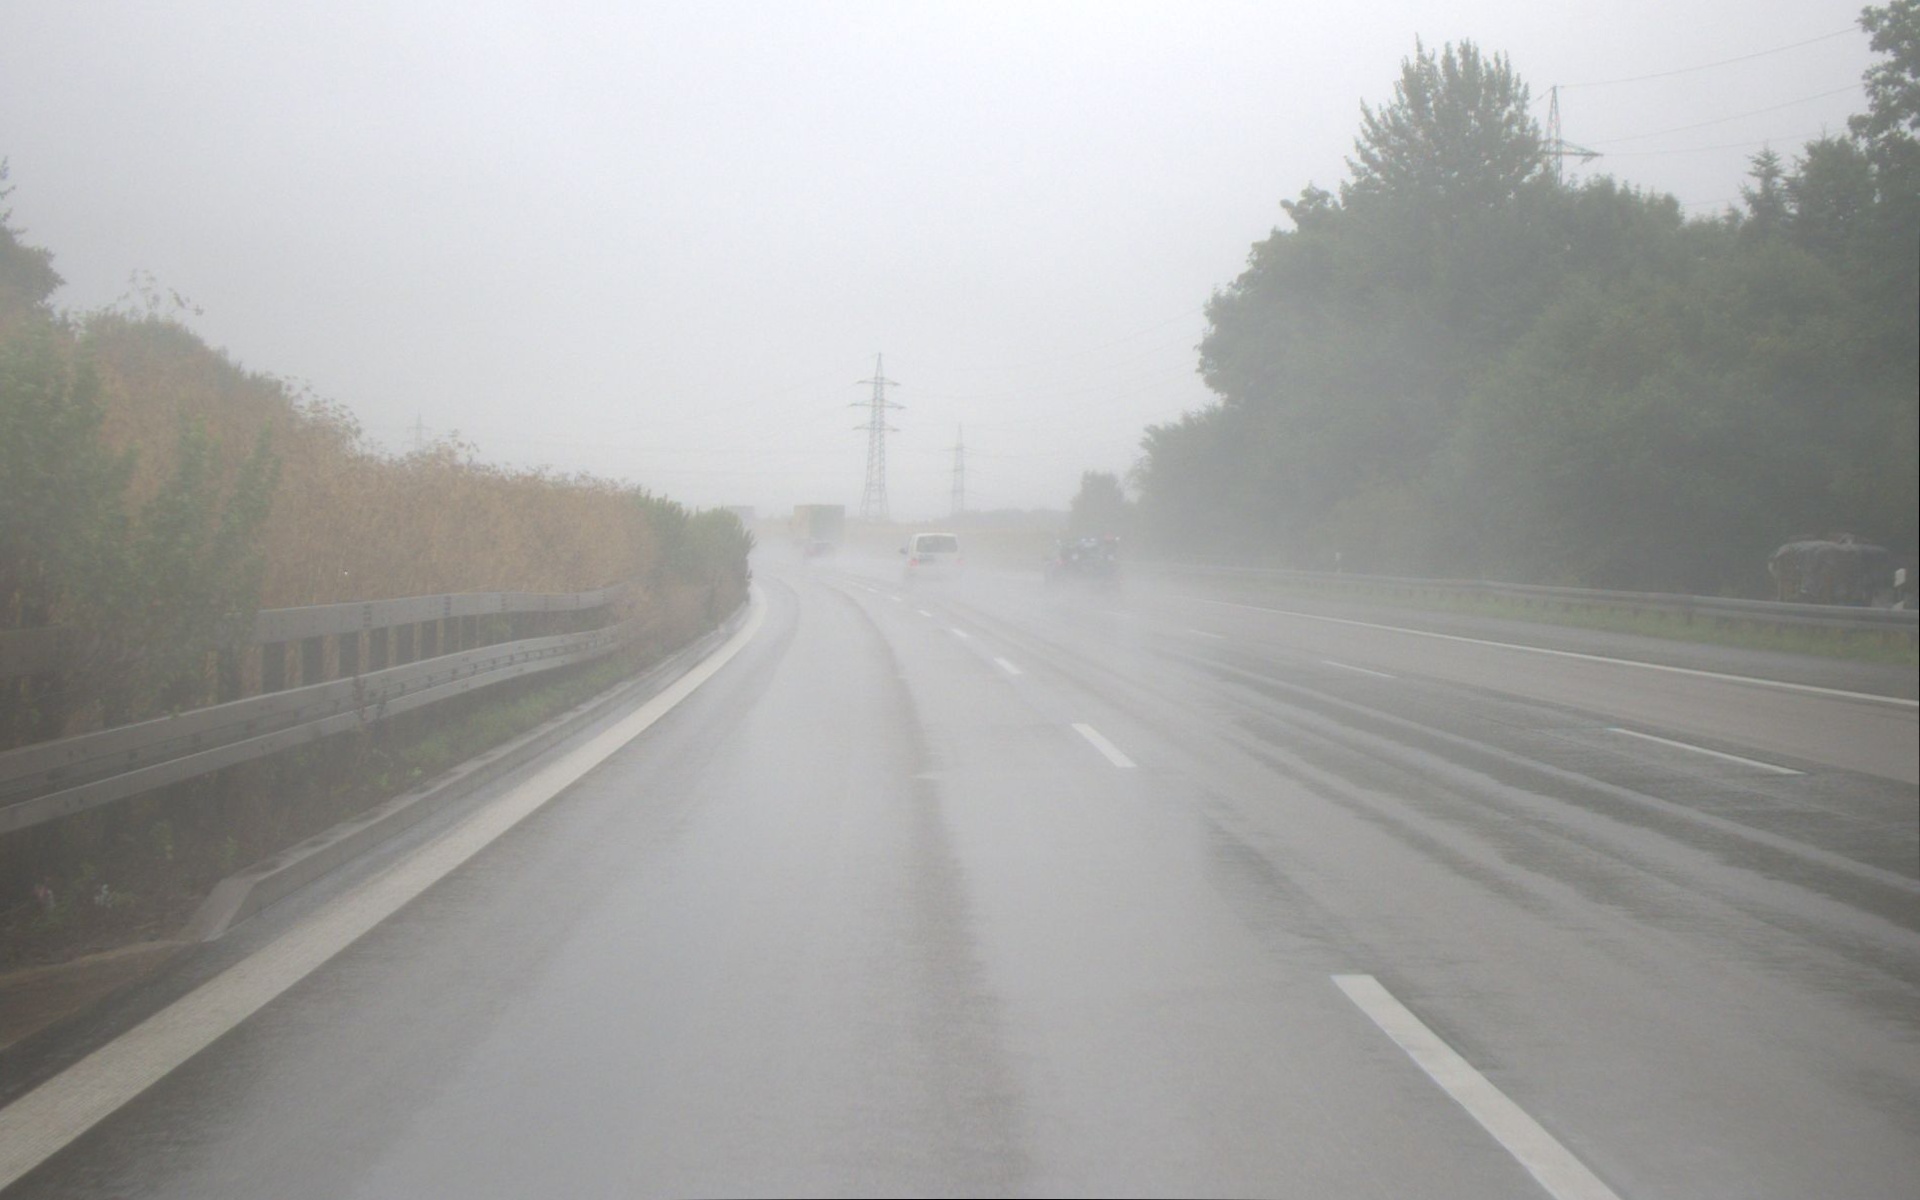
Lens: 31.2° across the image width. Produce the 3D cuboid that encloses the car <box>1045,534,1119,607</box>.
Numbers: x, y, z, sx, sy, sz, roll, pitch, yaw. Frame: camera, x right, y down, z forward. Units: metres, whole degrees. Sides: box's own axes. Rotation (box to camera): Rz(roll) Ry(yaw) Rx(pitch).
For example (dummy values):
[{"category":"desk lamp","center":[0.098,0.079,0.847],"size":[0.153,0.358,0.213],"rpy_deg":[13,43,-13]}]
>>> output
[{"category":"car","center":[3.726,-0.921,105.493],"size":[1.807,2.151,4.001],"rpy_deg":[1,1,-4]}]

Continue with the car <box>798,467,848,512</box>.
[{"category":"car","center":[-10.159,-8.139,254.218],"size":[3.199,3.182,7.258],"rpy_deg":[1,1,-6]}]
